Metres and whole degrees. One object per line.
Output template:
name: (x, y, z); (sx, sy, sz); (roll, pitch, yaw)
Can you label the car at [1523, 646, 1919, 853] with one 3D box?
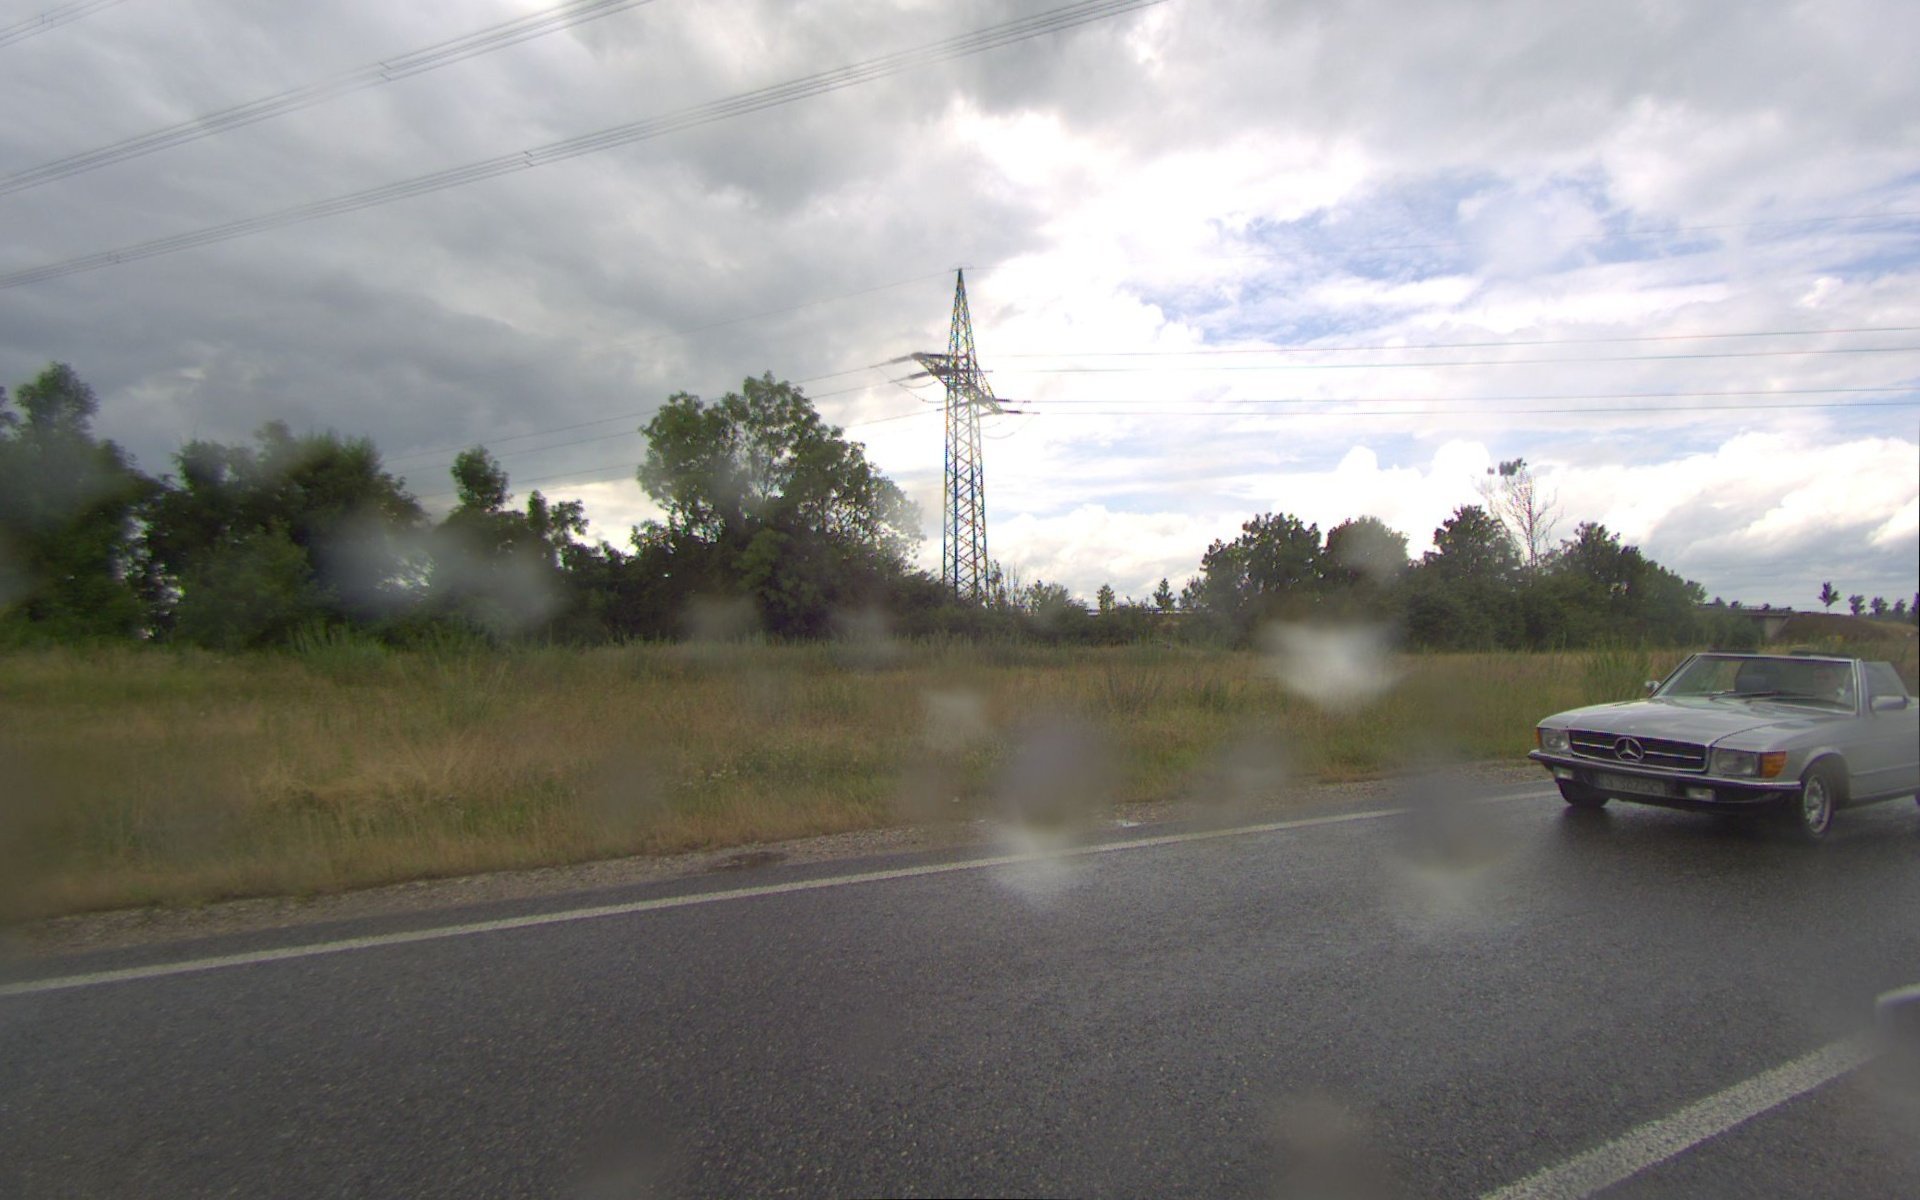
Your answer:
car: (6.574, 1.059, 8.156); (3.952, 1.267, 1.711); (2, -2, -29)
